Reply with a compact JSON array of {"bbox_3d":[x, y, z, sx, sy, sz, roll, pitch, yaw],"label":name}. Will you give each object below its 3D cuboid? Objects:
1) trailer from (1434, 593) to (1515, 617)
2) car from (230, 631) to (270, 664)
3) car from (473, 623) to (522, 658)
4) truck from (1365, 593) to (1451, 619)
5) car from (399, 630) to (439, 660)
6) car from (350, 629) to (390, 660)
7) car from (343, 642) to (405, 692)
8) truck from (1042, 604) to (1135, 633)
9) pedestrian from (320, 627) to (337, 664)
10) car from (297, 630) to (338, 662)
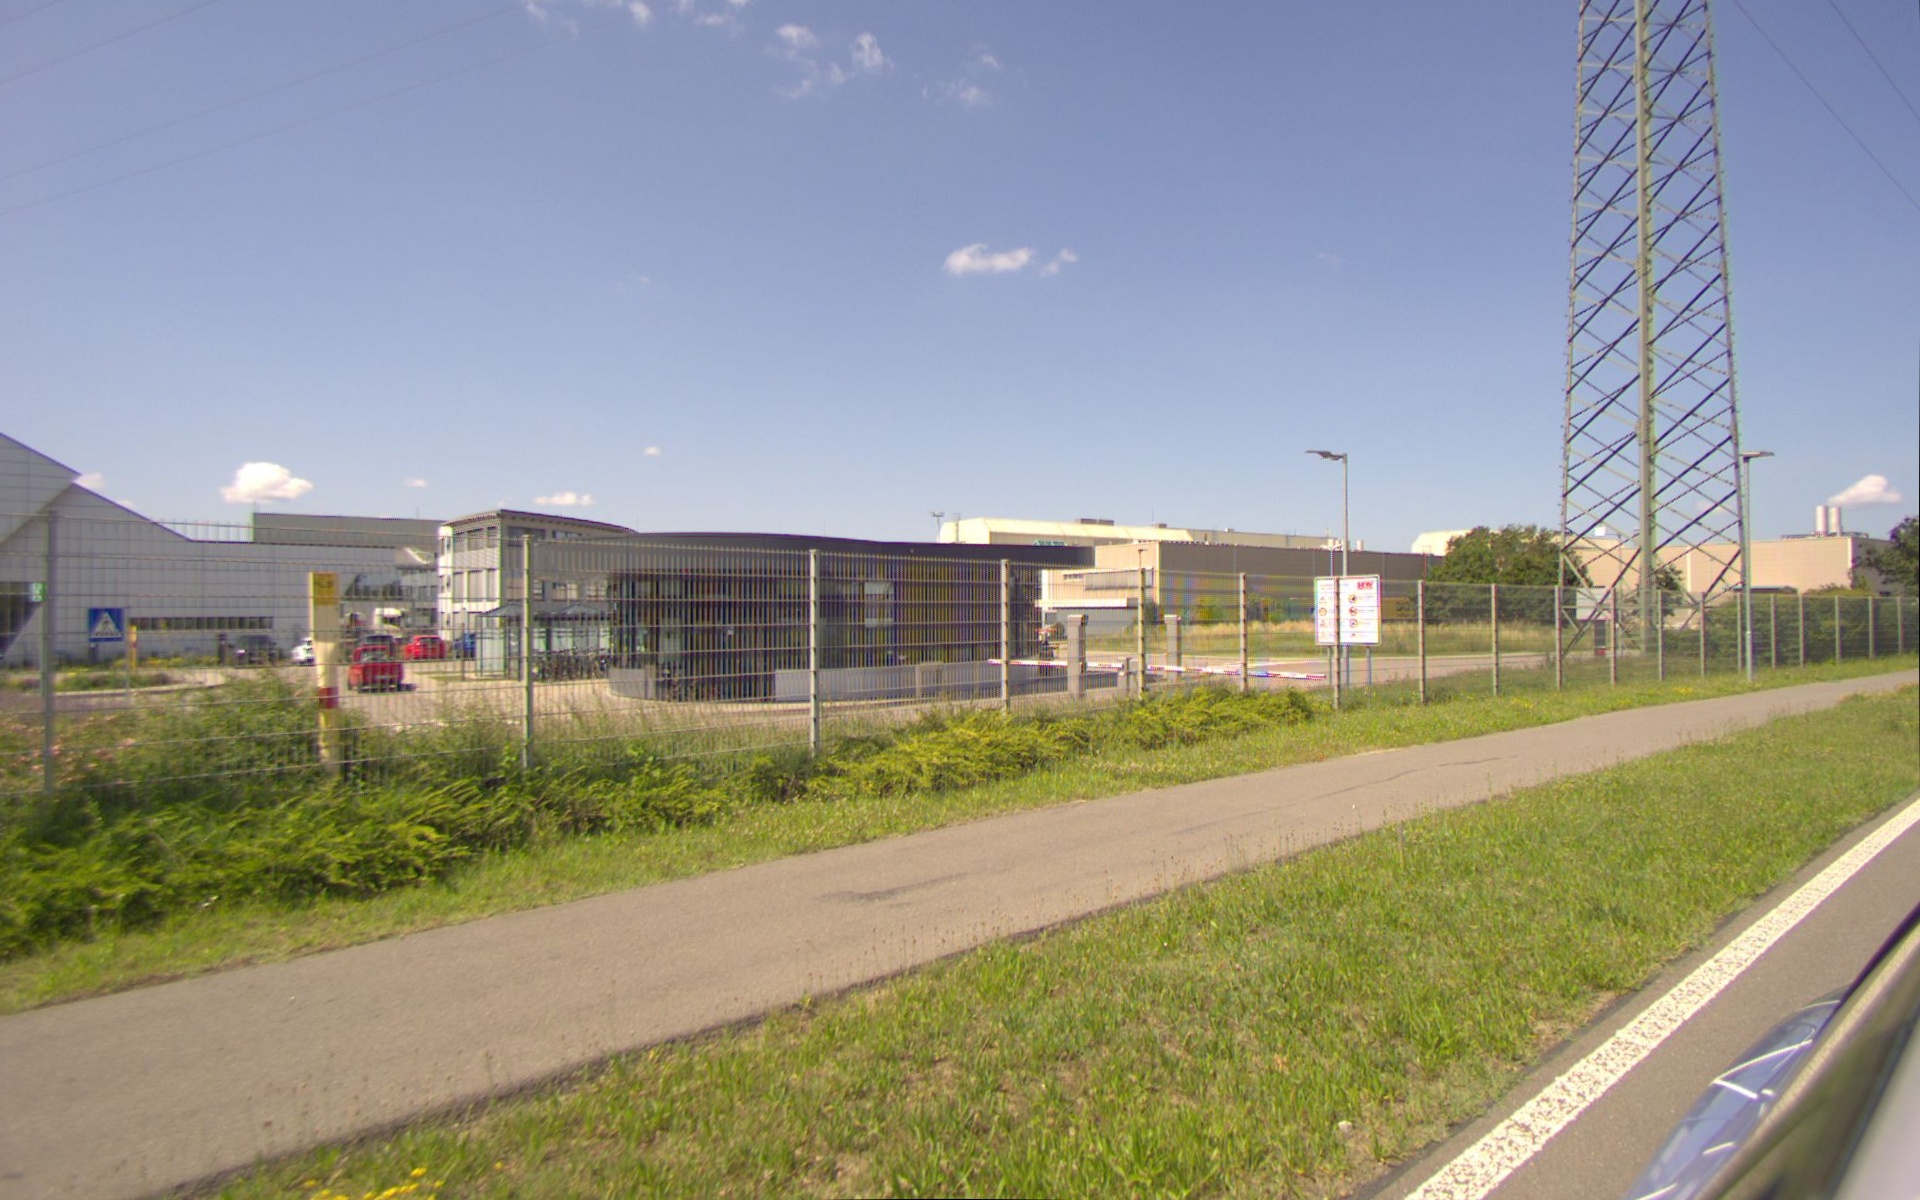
[{"bbox_3d":[62.658,0.535,122.998,13.820,2.746,2.001,0,1,-32],"label":"trailer"},{"bbox_3d":[-35.363,2.353,50.410,1.445,1.554,3.054,0,-1,-38],"label":"car"},{"bbox_3d":[-28.476,2.450,62.204,1.962,2.040,4.752,0,-2,-35],"label":"car"},{"bbox_3d":[51.288,0.631,115.625,13.472,2.746,2.001,0,1,-33],"label":"truck"},{"bbox_3d":[-29.830,2.450,55.792,1.445,1.554,3.054,0,-1,-38],"label":"car"},{"bbox_3d":[-31.428,2.319,53.895,1.445,1.554,3.054,0,-1,-38],"label":"car"},{"bbox_3d":[-20.534,2.302,35.422,1.429,1.554,3.148,0,-1,-39],"label":"car"},{"bbox_3d":[14.173,1.964,110.694,11.623,3.000,2.000,0,-2,-34],"label":"truck"},{"bbox_3d":[-31.409,2.246,50.332,0.675,1.767,0.612,0,0,-39],"label":"pedestrian"},{"bbox_3d":[-32.922,2.331,51.852,1.445,1.554,3.054,0,-1,-38],"label":"car"}]
